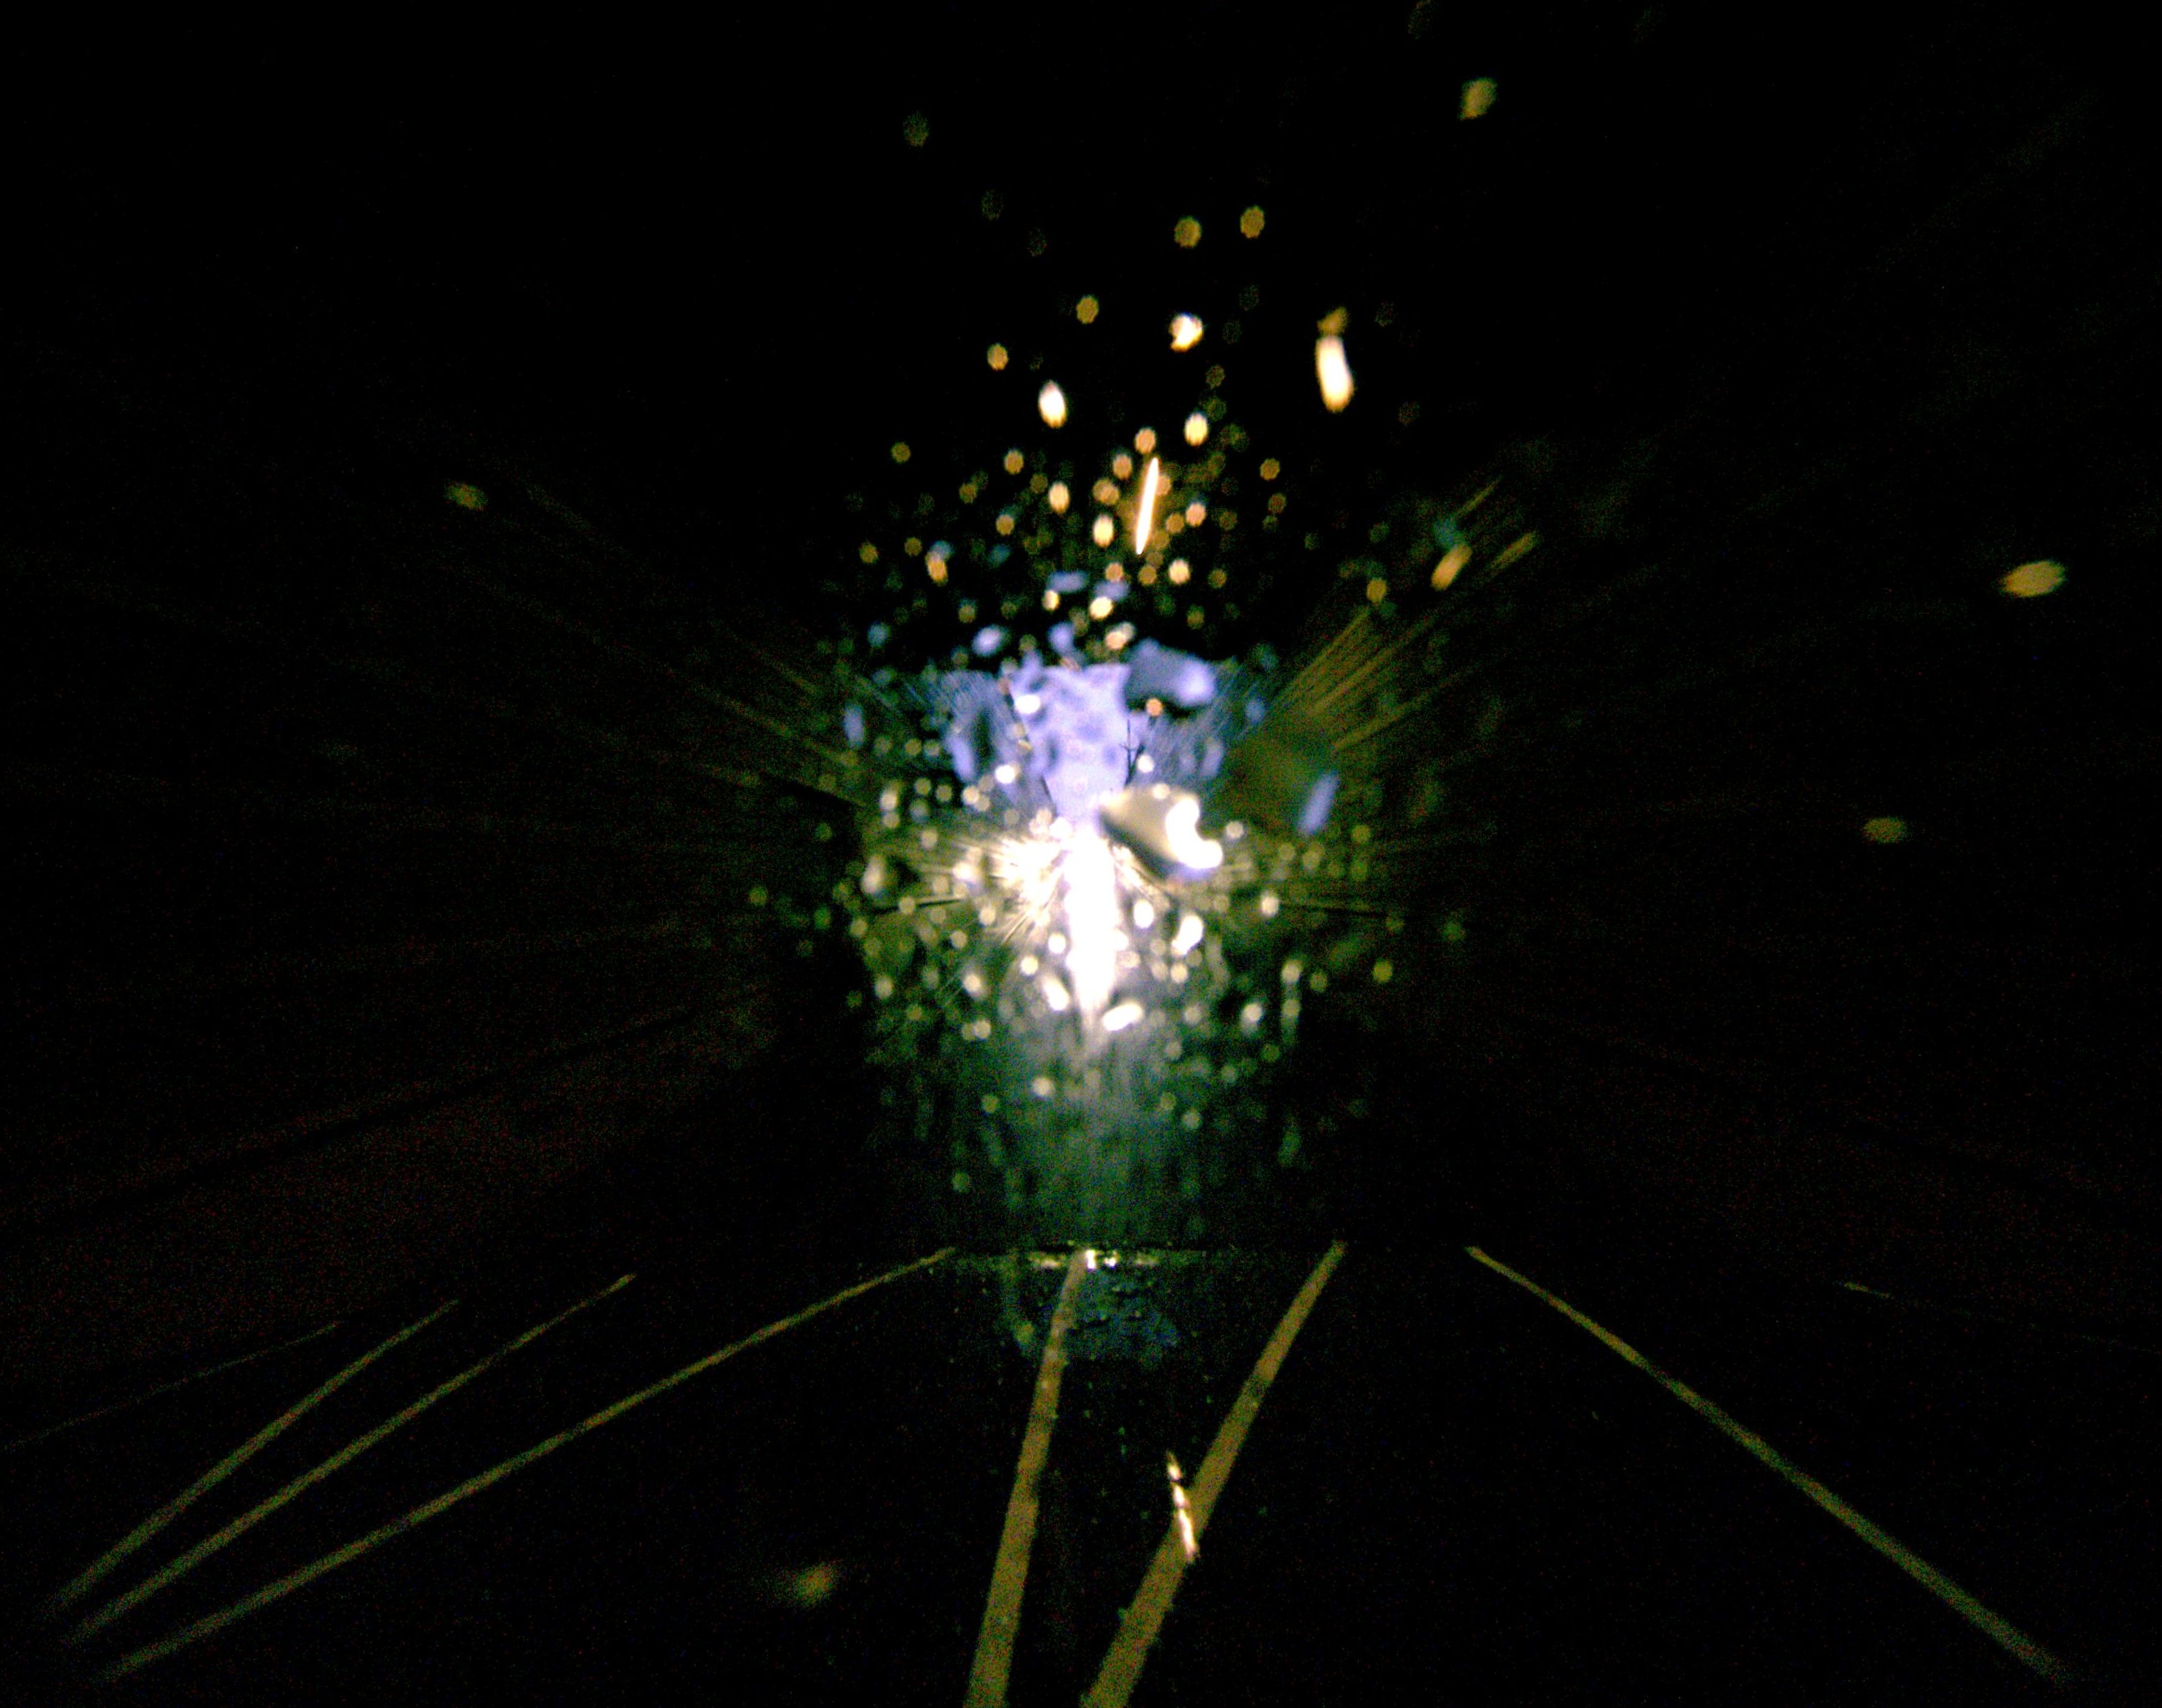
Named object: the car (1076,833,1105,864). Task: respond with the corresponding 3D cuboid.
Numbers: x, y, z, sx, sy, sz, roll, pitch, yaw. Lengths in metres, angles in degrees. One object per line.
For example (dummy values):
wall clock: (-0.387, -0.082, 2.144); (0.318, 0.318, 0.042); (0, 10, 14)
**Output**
car: (0.748, -0.334, 56.736); (2.030, 2.016, 4.427); (-2, -3, 1)
